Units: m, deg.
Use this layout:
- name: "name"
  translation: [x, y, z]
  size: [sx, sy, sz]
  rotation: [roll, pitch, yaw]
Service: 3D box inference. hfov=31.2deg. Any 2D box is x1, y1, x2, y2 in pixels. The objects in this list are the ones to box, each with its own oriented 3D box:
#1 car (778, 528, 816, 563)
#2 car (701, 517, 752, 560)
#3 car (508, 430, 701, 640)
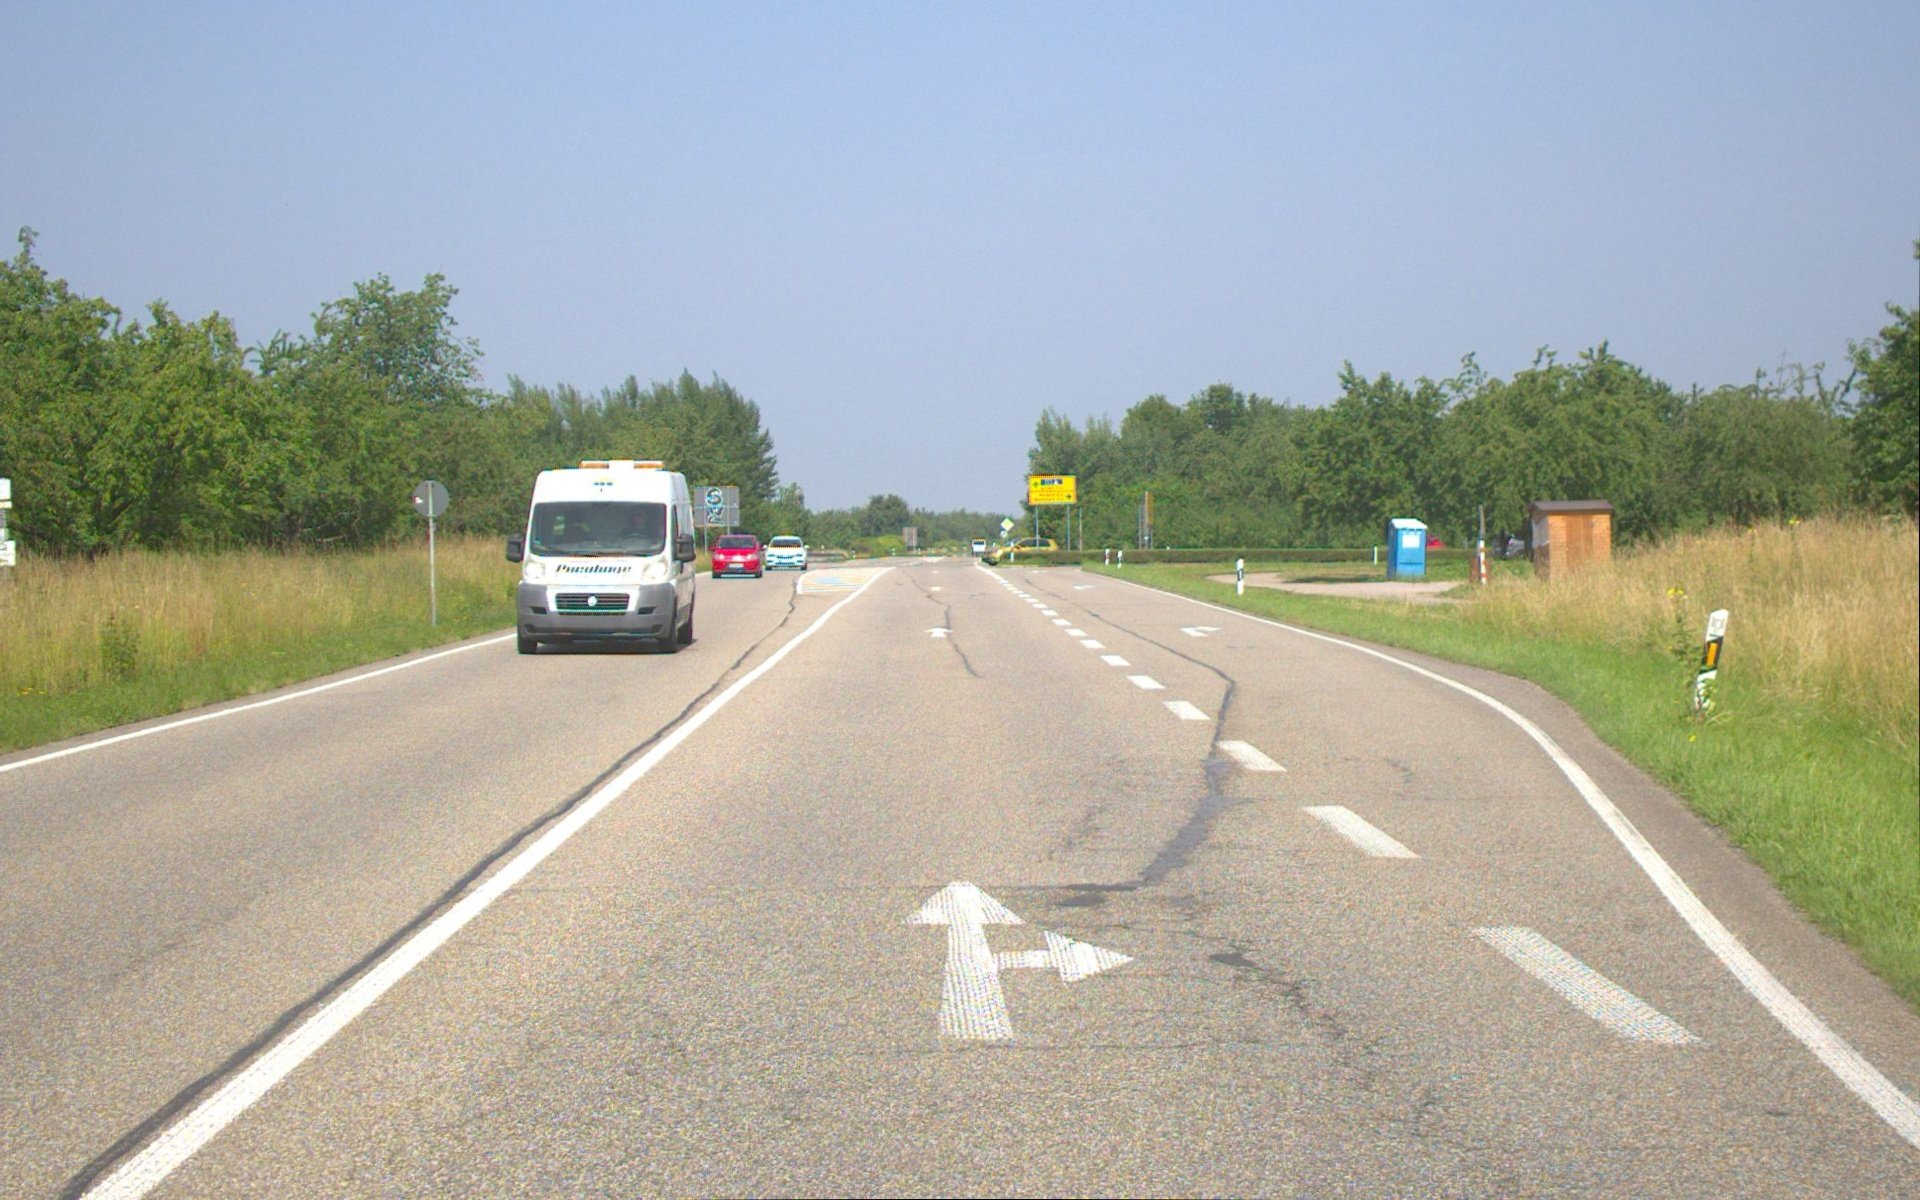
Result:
- name: "car"
  translation: [-7.156, -2.412, 151.200]
  size: [1.675, 1.489, 4.137]
  rotation: [0, 1, -2]
- name: "car"
  translation: [-7.952, -2.107, 117.287]
  size: [1.625, 1.452, 3.622]
  rotation: [0, 1, -2]
- name: "car"
  translation: [-4.743, -0.855, 46.698]
  size: [2.161, 2.659, 6.144]
  rotation: [0, 1, -2]
